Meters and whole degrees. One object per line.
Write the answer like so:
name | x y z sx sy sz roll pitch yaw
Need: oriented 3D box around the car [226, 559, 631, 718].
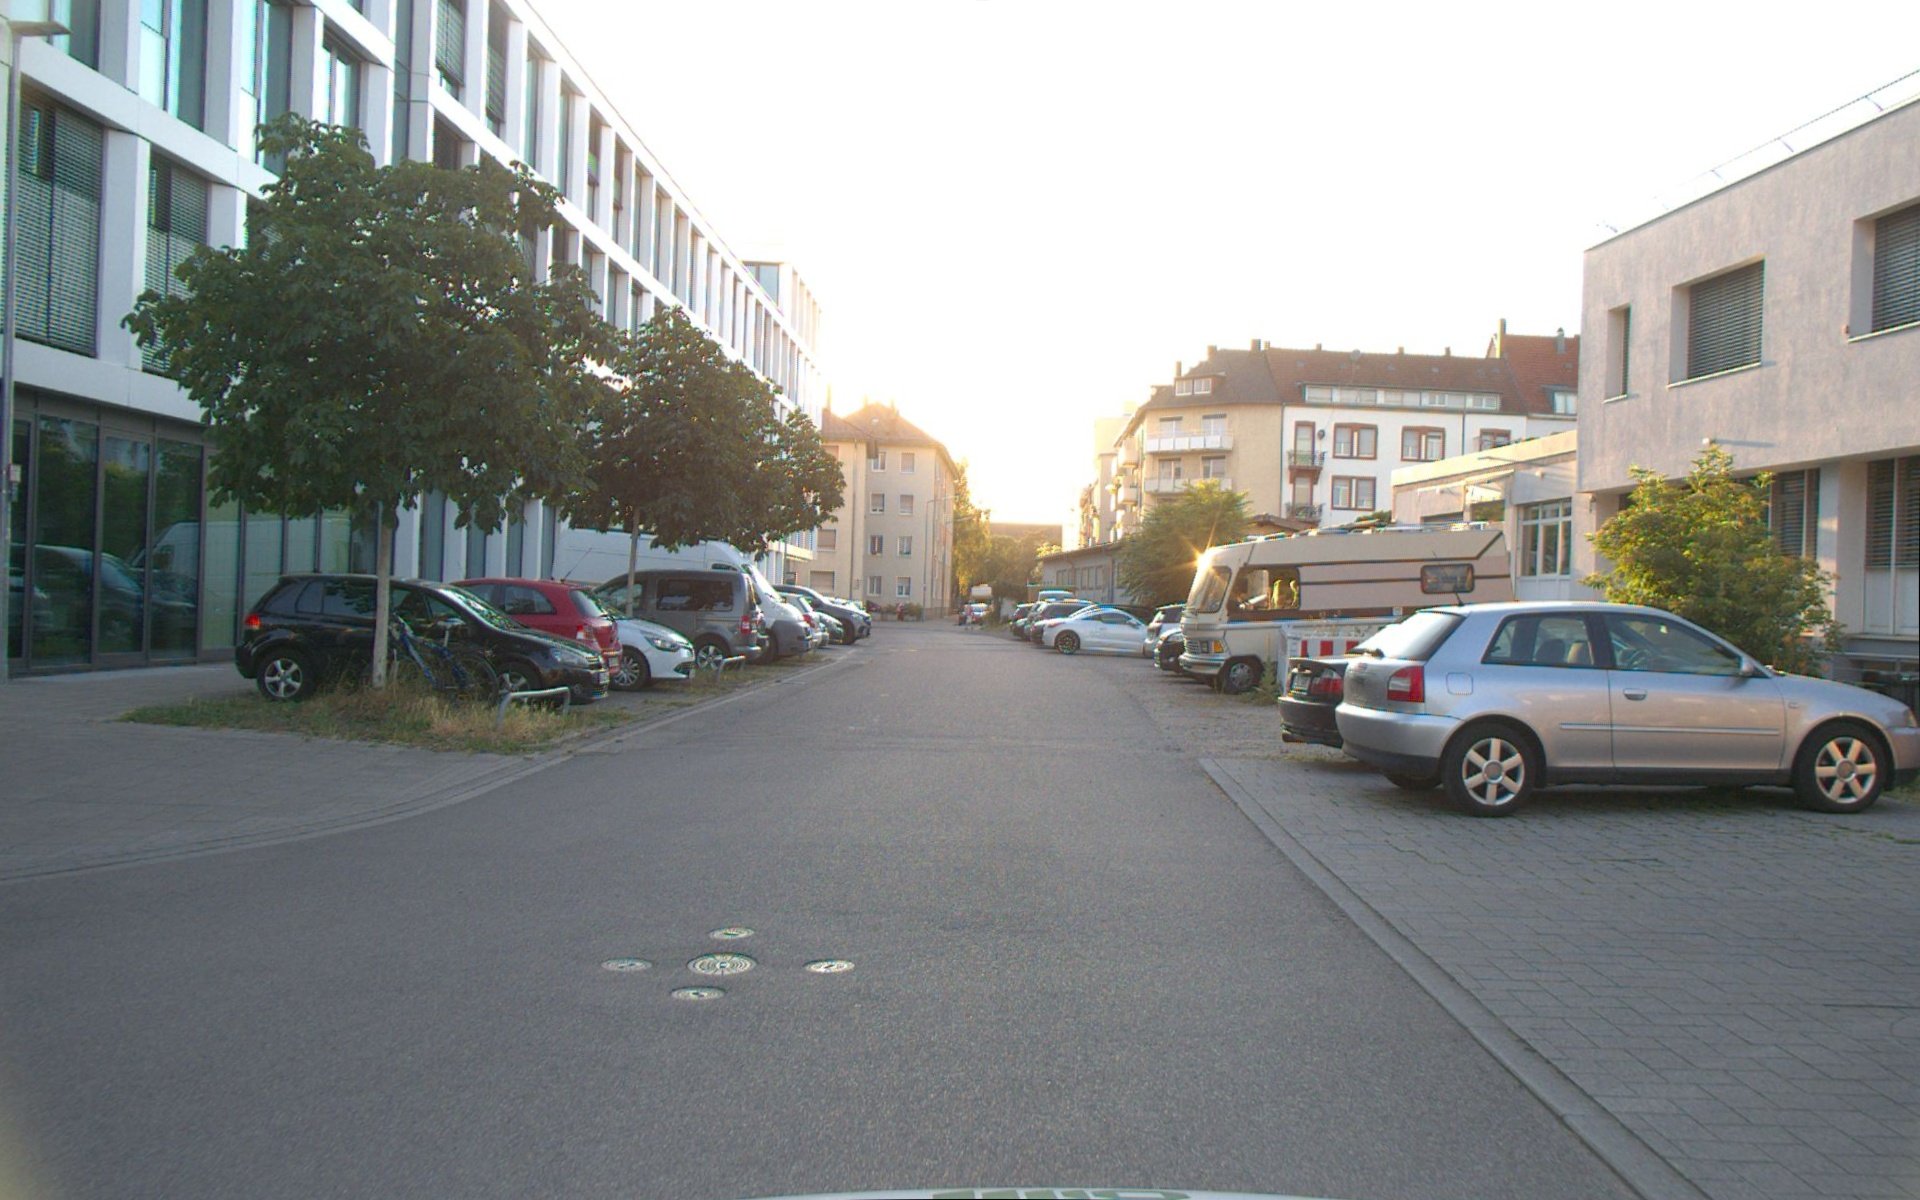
car | -6.039 0.421 19.158 4.025 1.545 1.844 3 0 -1

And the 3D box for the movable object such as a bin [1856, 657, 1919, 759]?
movable object such as a bin | 8.357 0.963 14.757 0.489 0.872 0.395 2 0 -5

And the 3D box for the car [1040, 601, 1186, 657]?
car | 4.426 0.829 48.426 4.115 1.391 1.824 3 0 2

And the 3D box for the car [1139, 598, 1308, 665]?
car | 6.151 0.728 38.814 3.631 1.505 1.711 1 0 -3

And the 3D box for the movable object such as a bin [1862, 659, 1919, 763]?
movable object such as a bin | 8.152 0.959 14.354 0.406 0.872 0.395 2 0 -5

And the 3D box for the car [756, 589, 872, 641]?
car | -4.896 0.502 55.798 3.590 1.537 1.697 3 0 4

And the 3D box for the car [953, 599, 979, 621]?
car | 0.464 0.741 119.705 1.807 1.499 4.078 2 0 1

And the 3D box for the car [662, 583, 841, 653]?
car | -5.264 0.438 42.108 4.219 1.521 1.795 3 0 2

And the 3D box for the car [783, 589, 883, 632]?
car | -5.191 0.410 67.802 3.845 1.537 1.688 3 0 1

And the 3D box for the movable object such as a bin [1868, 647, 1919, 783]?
movable object such as a bin | 7.772 0.915 13.124 0.692 1.039 0.710 2 0 -10

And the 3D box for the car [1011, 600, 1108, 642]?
car | 3.951 0.856 66.167 3.684 1.470 1.844 3 -1 -3

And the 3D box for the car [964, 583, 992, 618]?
car | 1.801 0.064 165.032 2.565 3.326 7.699 0 0 2

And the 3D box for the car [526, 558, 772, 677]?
car | -5.474 0.300 29.493 4.027 1.848 1.815 3 0 -4

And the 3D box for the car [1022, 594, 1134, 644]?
car | 4.343 0.688 61.258 3.904 1.637 1.938 3 0 -3

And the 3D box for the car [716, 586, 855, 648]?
car | -4.923 0.474 46.959 3.705 1.549 1.693 3 0 -1

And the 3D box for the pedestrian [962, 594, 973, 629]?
pedestrian | 0.453 0.702 98.648 0.561 2.049 0.557 2 0 2

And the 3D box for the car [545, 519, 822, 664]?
car | -5.694 -0.184 34.579 5.270 2.678 2.079 3 0 2

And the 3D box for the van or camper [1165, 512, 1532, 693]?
van or camper | 6.550 0.053 28.377 5.664 2.914 2.486 1 -1 -3

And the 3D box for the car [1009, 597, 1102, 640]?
car | 3.943 0.754 68.604 3.682 1.562 1.891 3 1 0

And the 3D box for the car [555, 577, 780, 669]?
car | -5.574 0.420 31.918 4.027 1.525 1.773 3 0 -4

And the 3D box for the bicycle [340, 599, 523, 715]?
bicycle | -5.449 0.581 17.095 1.661 1.084 0.566 3 0 1

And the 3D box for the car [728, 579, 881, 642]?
car | -4.952 0.325 53.079 4.522 1.736 2.005 3 0 4

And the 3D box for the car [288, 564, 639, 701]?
car | -6.489 0.407 21.933 4.024 1.545 1.845 3 0 0

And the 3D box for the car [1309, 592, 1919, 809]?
car | 4.754 0.674 12.072 3.975 1.432 1.895 0 1 -3

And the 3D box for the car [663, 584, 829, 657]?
car | -5.057 0.479 39.377 3.632 1.521 1.708 3 0 0

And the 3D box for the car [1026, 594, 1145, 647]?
car | 4.435 0.718 58.651 3.906 1.647 1.825 3 0 -5

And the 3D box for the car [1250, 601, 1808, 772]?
car | 4.840 0.719 14.478 4.229 1.357 1.895 1 0 -3

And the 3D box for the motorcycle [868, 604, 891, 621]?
motorcycle | -5.603 0.881 115.229 0.708 1.098 2.080 2 0 22

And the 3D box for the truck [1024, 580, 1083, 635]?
truck | 4.063 0.336 72.722 2.055 2.239 5.709 2 0 -1

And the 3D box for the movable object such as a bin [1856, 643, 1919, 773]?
movable object such as a bin | 7.950 0.892 13.791 0.609 1.039 0.560 2 0 -10

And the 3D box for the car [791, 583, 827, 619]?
car | -8.960 0.059 98.312 1.761 2.014 4.688 2 1 -2

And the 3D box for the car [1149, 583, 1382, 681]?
car | 5.752 0.591 31.550 4.152 1.771 1.968 1 0 2

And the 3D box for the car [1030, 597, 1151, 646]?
car | 4.387 0.733 56.057 3.903 1.470 1.826 3 -1 -1

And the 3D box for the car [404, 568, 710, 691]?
car | -5.887 0.420 24.498 4.024 1.545 1.780 3 0 0

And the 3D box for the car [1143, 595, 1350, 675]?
car | 5.930 0.721 34.470 3.926 1.591 1.710 1 0 -5

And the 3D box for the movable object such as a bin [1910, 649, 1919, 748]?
movable object such as a bin | 9.487 0.953 15.844 0.457 0.948 0.526 1 0 -3

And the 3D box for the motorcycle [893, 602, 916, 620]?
motorcycle | -3.945 0.793 117.696 0.675 1.181 2.032 2 0 26

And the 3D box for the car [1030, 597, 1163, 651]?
car | 4.374 0.779 53.567 4.116 1.529 1.890 3 -1 0
